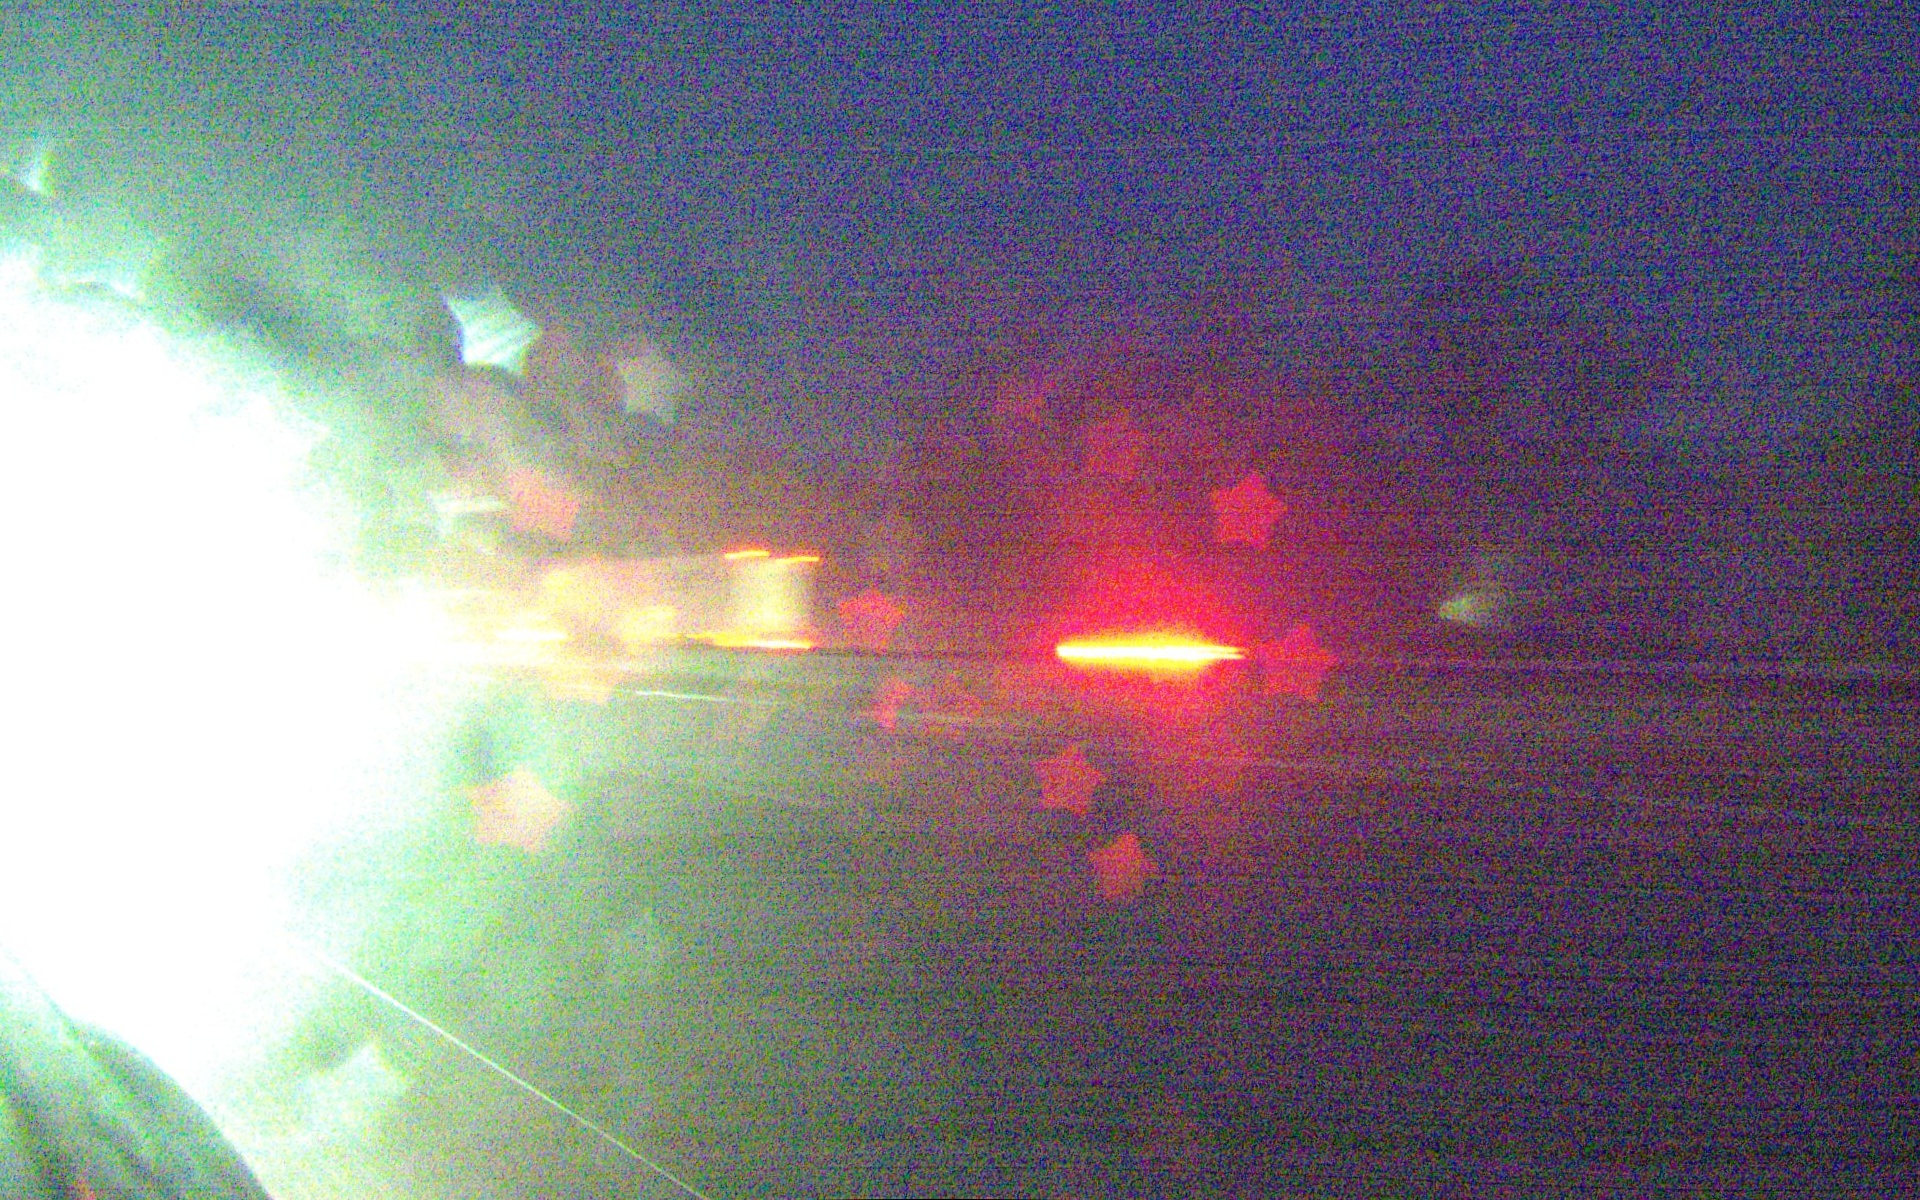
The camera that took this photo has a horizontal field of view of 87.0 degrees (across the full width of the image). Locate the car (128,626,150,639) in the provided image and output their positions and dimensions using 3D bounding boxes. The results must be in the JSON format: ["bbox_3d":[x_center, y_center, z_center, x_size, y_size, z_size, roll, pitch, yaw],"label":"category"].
[{"bbox_3d":[-118.543,4.652,146.060,3.812,1.724,1.850,-1,0,42],"label":"car"}]

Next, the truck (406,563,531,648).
[{"bbox_3d":[-35.196,0.391,72.110,12.788,5.634,3.205,-1,0,41],"label":"truck"}]

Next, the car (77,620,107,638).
[{"bbox_3d":[-89.527,2.975,104.366,4.393,1.767,1.702,-1,0,40],"label":"car"}]

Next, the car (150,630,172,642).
[{"bbox_3d":[-106.470,4.742,134.820,3.766,1.514,1.666,-1,0,42],"label":"car"}]

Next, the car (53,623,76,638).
[{"bbox_3d":[-121.745,4.097,137.528,4.143,1.920,1.887,-1,0,42],"label":"car"}]

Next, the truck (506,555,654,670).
[{"bbox_3d":[-17.621,0.544,46.799,6.474,4.946,3.750,-1,0,41],"label":"truck"}]

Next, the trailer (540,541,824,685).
[{"bbox_3d":[-11.941,0.496,41.763,14.793,5.065,3.750,-1,0,41],"label":"trailer"}]

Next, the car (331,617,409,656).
[{"bbox_3d":[-24.870,1.497,42.610,3.998,1.524,1.639,-1,0,41],"label":"car"}]

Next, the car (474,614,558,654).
[{"bbox_3d":[-18.316,1.352,41.692,3.998,1.524,1.639,-1,0,41],"label":"car"}]

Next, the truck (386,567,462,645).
[{"bbox_3d":[-40.733,0.439,76.866,5.875,5.634,3.206,-1,0,41],"label":"truck"}]

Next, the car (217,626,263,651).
[{"bbox_3d":[-48.524,2.589,68.187,3.998,1.524,1.639,-1,0,41],"label":"car"}]

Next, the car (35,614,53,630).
[{"bbox_3d":[-178.771,4.261,197.467,4.718,2.915,2.131,-1,0,43],"label":"car"}]

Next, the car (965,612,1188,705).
[{"bbox_3d":[2.112,1.008,18.990,3.944,1.524,1.639,-1,0,41],"label":"car"}]

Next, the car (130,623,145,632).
[{"bbox_3d":[-168.454,5.646,207.220,4.174,1.802,1.870,-1,0,43],"label":"car"}]
